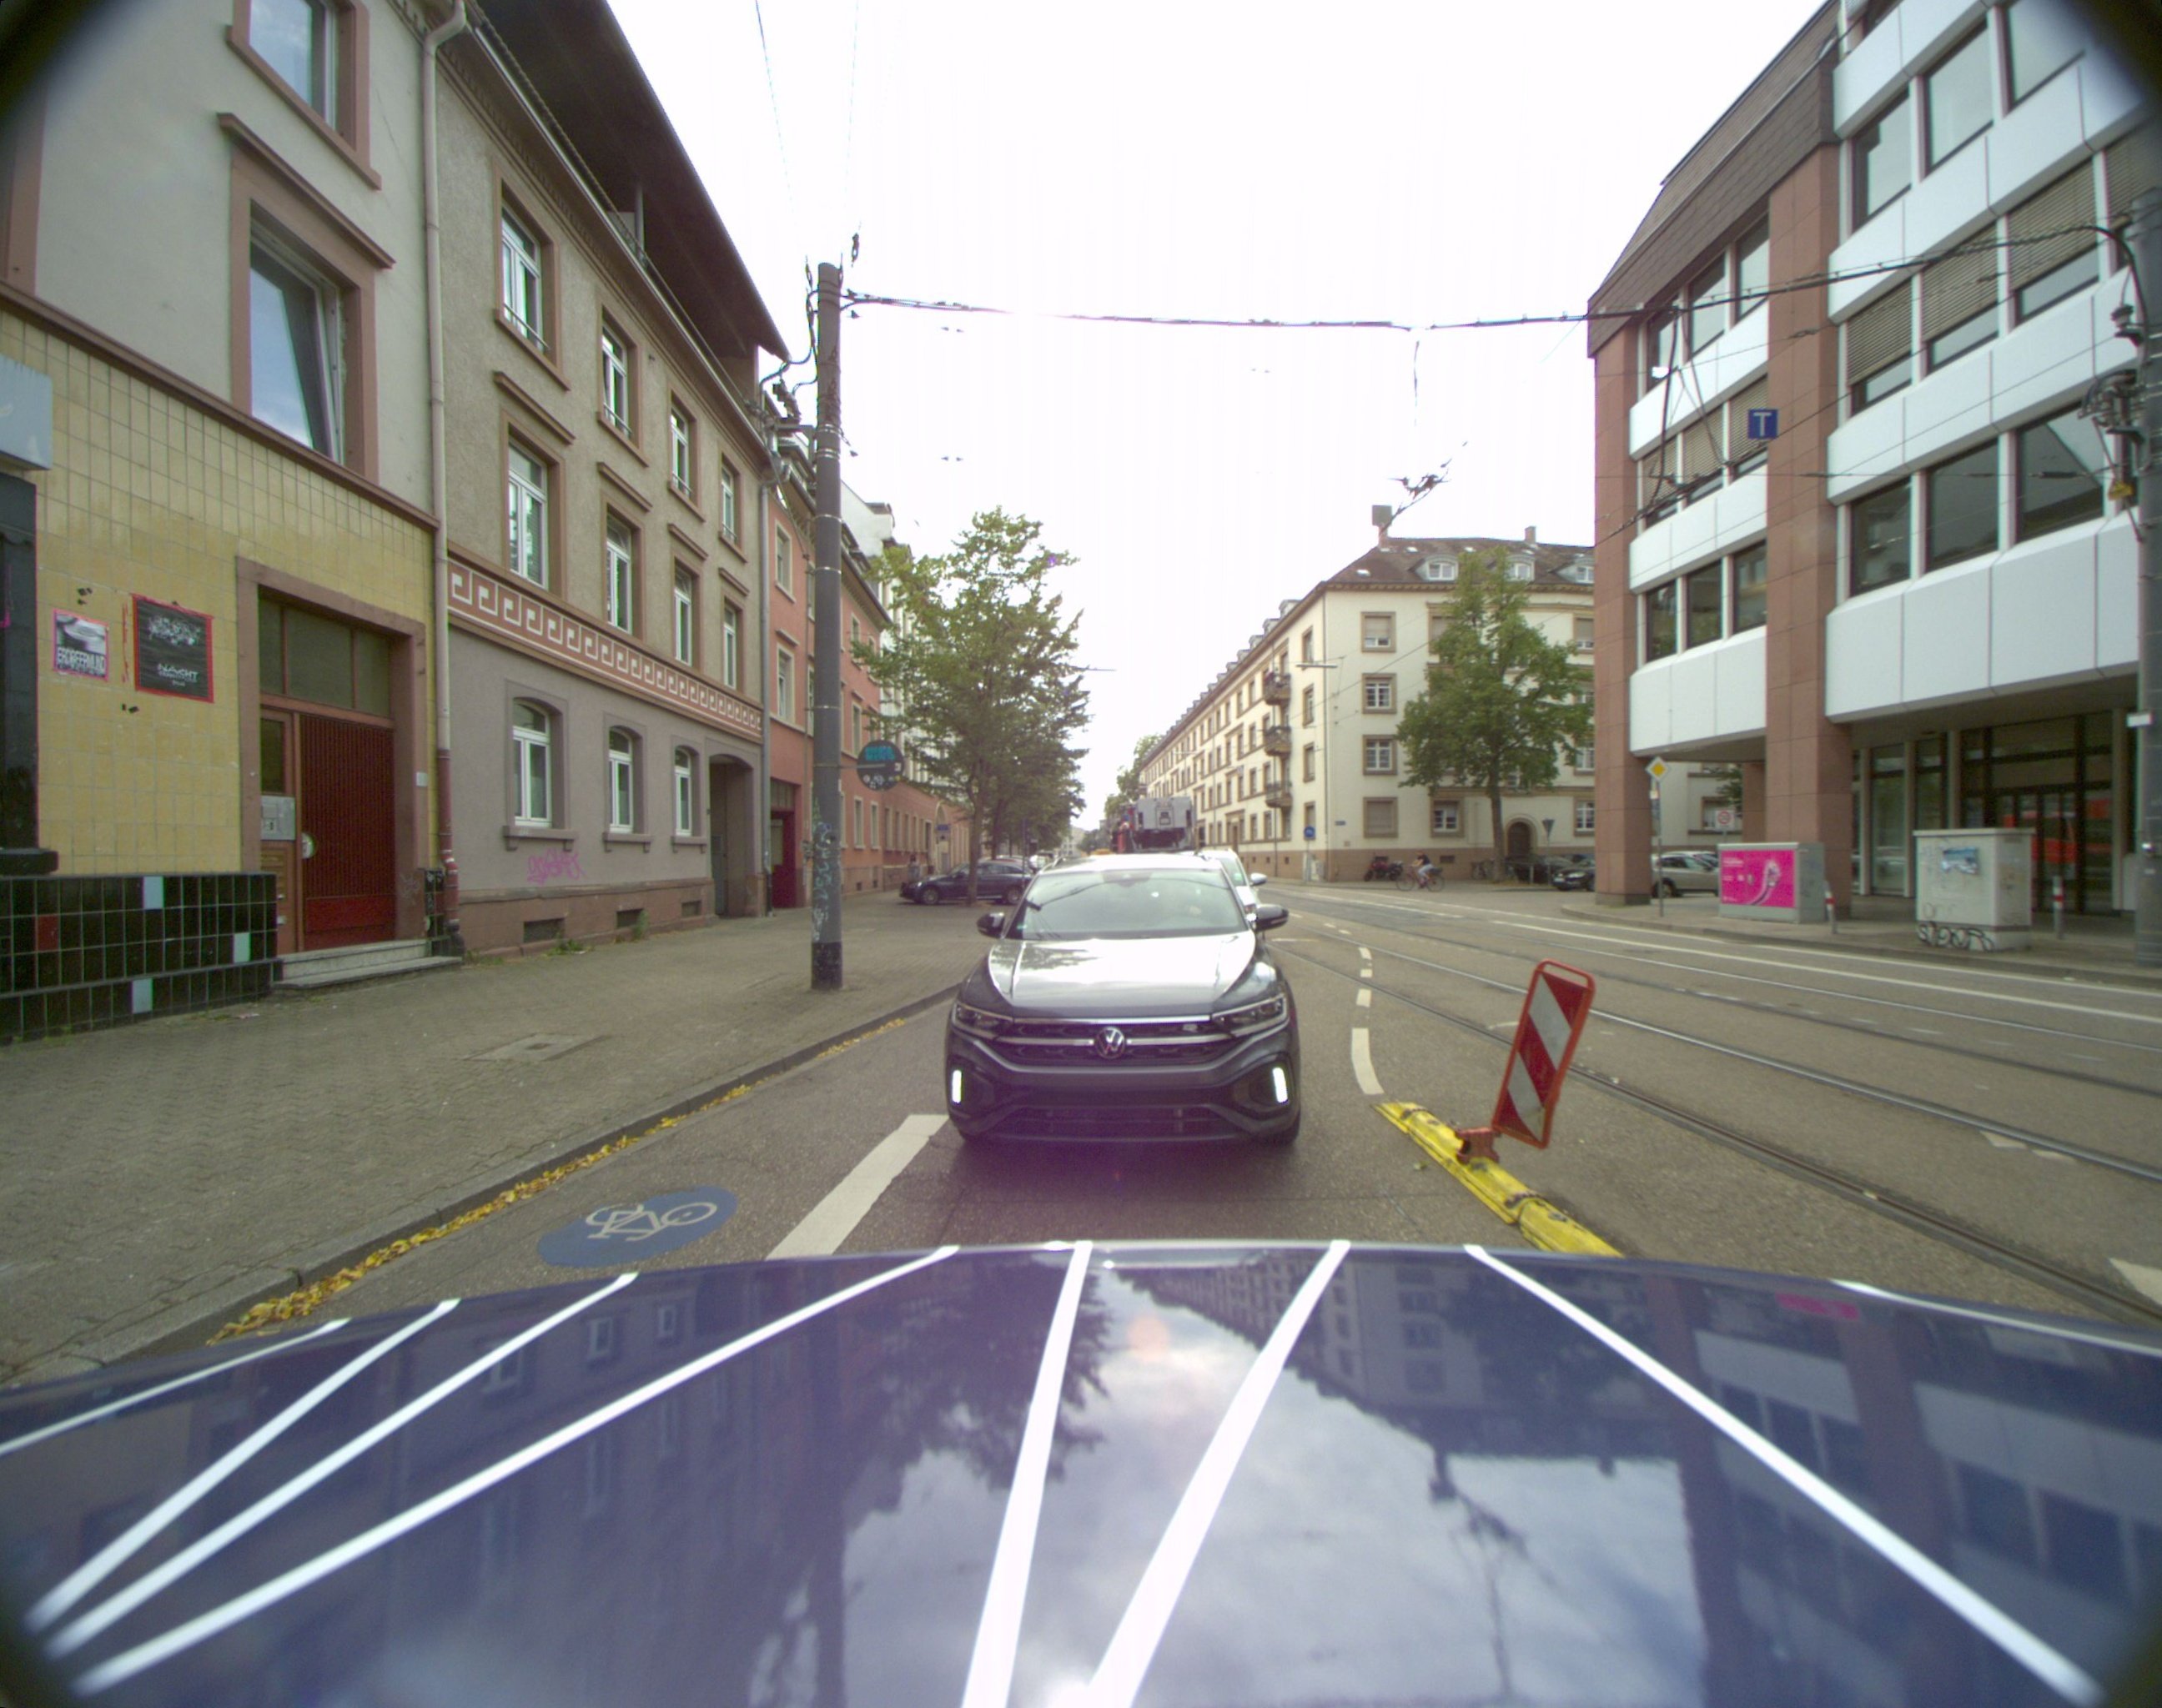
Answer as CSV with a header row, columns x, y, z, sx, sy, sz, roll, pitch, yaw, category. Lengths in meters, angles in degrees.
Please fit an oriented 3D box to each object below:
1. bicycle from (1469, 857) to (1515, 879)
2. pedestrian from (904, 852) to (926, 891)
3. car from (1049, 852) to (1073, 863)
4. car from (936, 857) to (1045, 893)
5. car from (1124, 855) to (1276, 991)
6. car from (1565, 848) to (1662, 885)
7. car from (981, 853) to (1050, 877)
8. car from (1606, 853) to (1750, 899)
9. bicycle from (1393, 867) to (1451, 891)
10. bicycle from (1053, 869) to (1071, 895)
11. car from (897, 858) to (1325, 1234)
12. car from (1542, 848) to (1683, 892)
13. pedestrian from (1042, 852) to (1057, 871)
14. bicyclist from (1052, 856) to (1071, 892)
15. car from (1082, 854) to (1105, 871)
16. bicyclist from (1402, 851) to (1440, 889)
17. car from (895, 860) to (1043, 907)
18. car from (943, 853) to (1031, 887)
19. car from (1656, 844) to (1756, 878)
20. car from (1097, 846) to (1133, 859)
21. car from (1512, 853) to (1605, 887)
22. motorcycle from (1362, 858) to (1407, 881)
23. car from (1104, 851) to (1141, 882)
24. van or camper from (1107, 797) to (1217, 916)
x,y,z,sx,sy,sz,roll,pitch,yaw,category
20.803,0.725,38.494,1.924,1.080,0.793,-1,0,-1,bicycle
-7.455,0.765,34.184,0.732,1.678,0.926,3,0,-1,pedestrian
-3.646,0.624,137.177,4.008,1.806,1.896,-1,0,-37,car
-3.903,0.899,32.783,4.351,1.471,1.786,1,0,-24,car
1.622,0.844,11.320,1.772,1.582,4.283,-2,0,5,car
23.558,0.530,33.802,1.611,1.538,3.715,-1,0,-3,car
-4.740,0.788,55.355,4.635,1.688,1.913,1,0,-24,car
19.180,0.666,24.462,3.650,1.380,1.611,-1,0,-9,car
13.558,0.996,30.266,2.009,0.959,0.673,-1,-1,8,bicycle
-0.825,1.187,32.533,0.714,1.012,1.800,-2,0,-1,bicycle
0.280,0.851,5.381,1.773,1.538,4.283,-2,0,5,car
20.385,0.608,29.293,4.043,1.528,1.776,-2,0,9,car
-3.065,0.681,73.896,1.016,1.831,1.003,0,1,44,pedestrian
-0.830,0.839,32.461,0.715,1.498,0.918,-3,0,-1,bicyclist
1.108,0.758,68.454,1.911,1.478,3.999,-1,0,-2,car
13.535,0.635,30.264,1.258,1.453,0.678,-1,0,8,bicyclist
-3.790,0.962,25.709,4.635,1.464,1.786,1,0,-24,car
-4.948,0.841,39.918,4.245,1.688,1.736,1,0,-24,car
28.484,0.307,34.748,1.592,1.453,3.524,-1,0,-3,car
5.962,-0.290,133.355,5.915,2.142,2.552,-1,0,18,car
21.158,0.664,33.838,1.611,1.388,3.874,-1,0,-3,car
15.292,0.773,38.277,1.924,1.080,0.793,-1,0,-1,motorcycle
2.368,0.700,44.269,1.998,1.698,4.053,-1,0,1,car
2.509,0.077,26.804,2.607,3.401,9.651,-1,0,-1,van or camper
